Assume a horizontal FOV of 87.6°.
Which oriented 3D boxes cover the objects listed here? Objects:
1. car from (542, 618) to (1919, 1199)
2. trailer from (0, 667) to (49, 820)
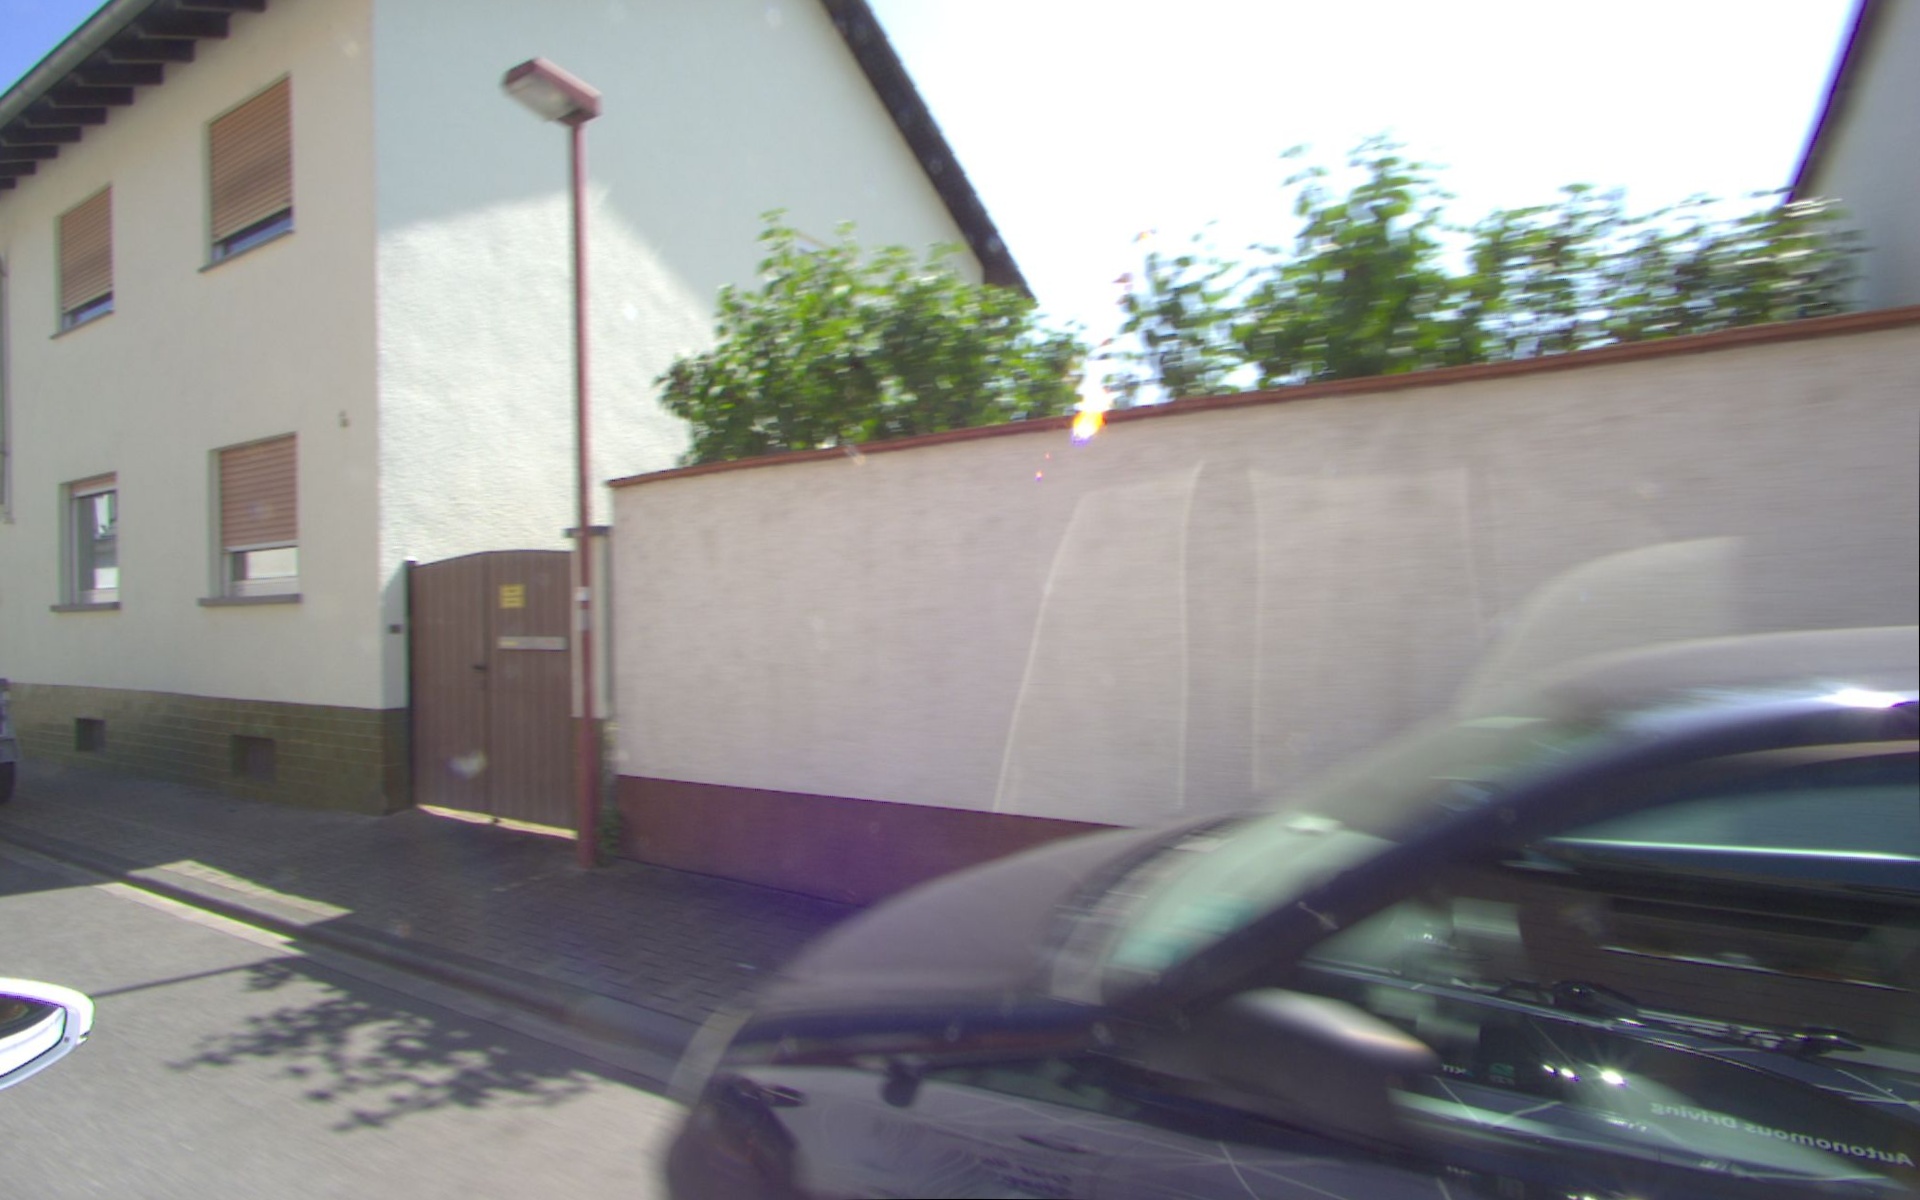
[{"bbox_3d":[1.434,0.765,1.420,4.074,1.455,1.646,-1,-1,31],"label":"car"},{"bbox_3d":[-8.941,1.114,7.924,3.433,1.104,1.813,-1,-1,34],"label":"trailer"}]
